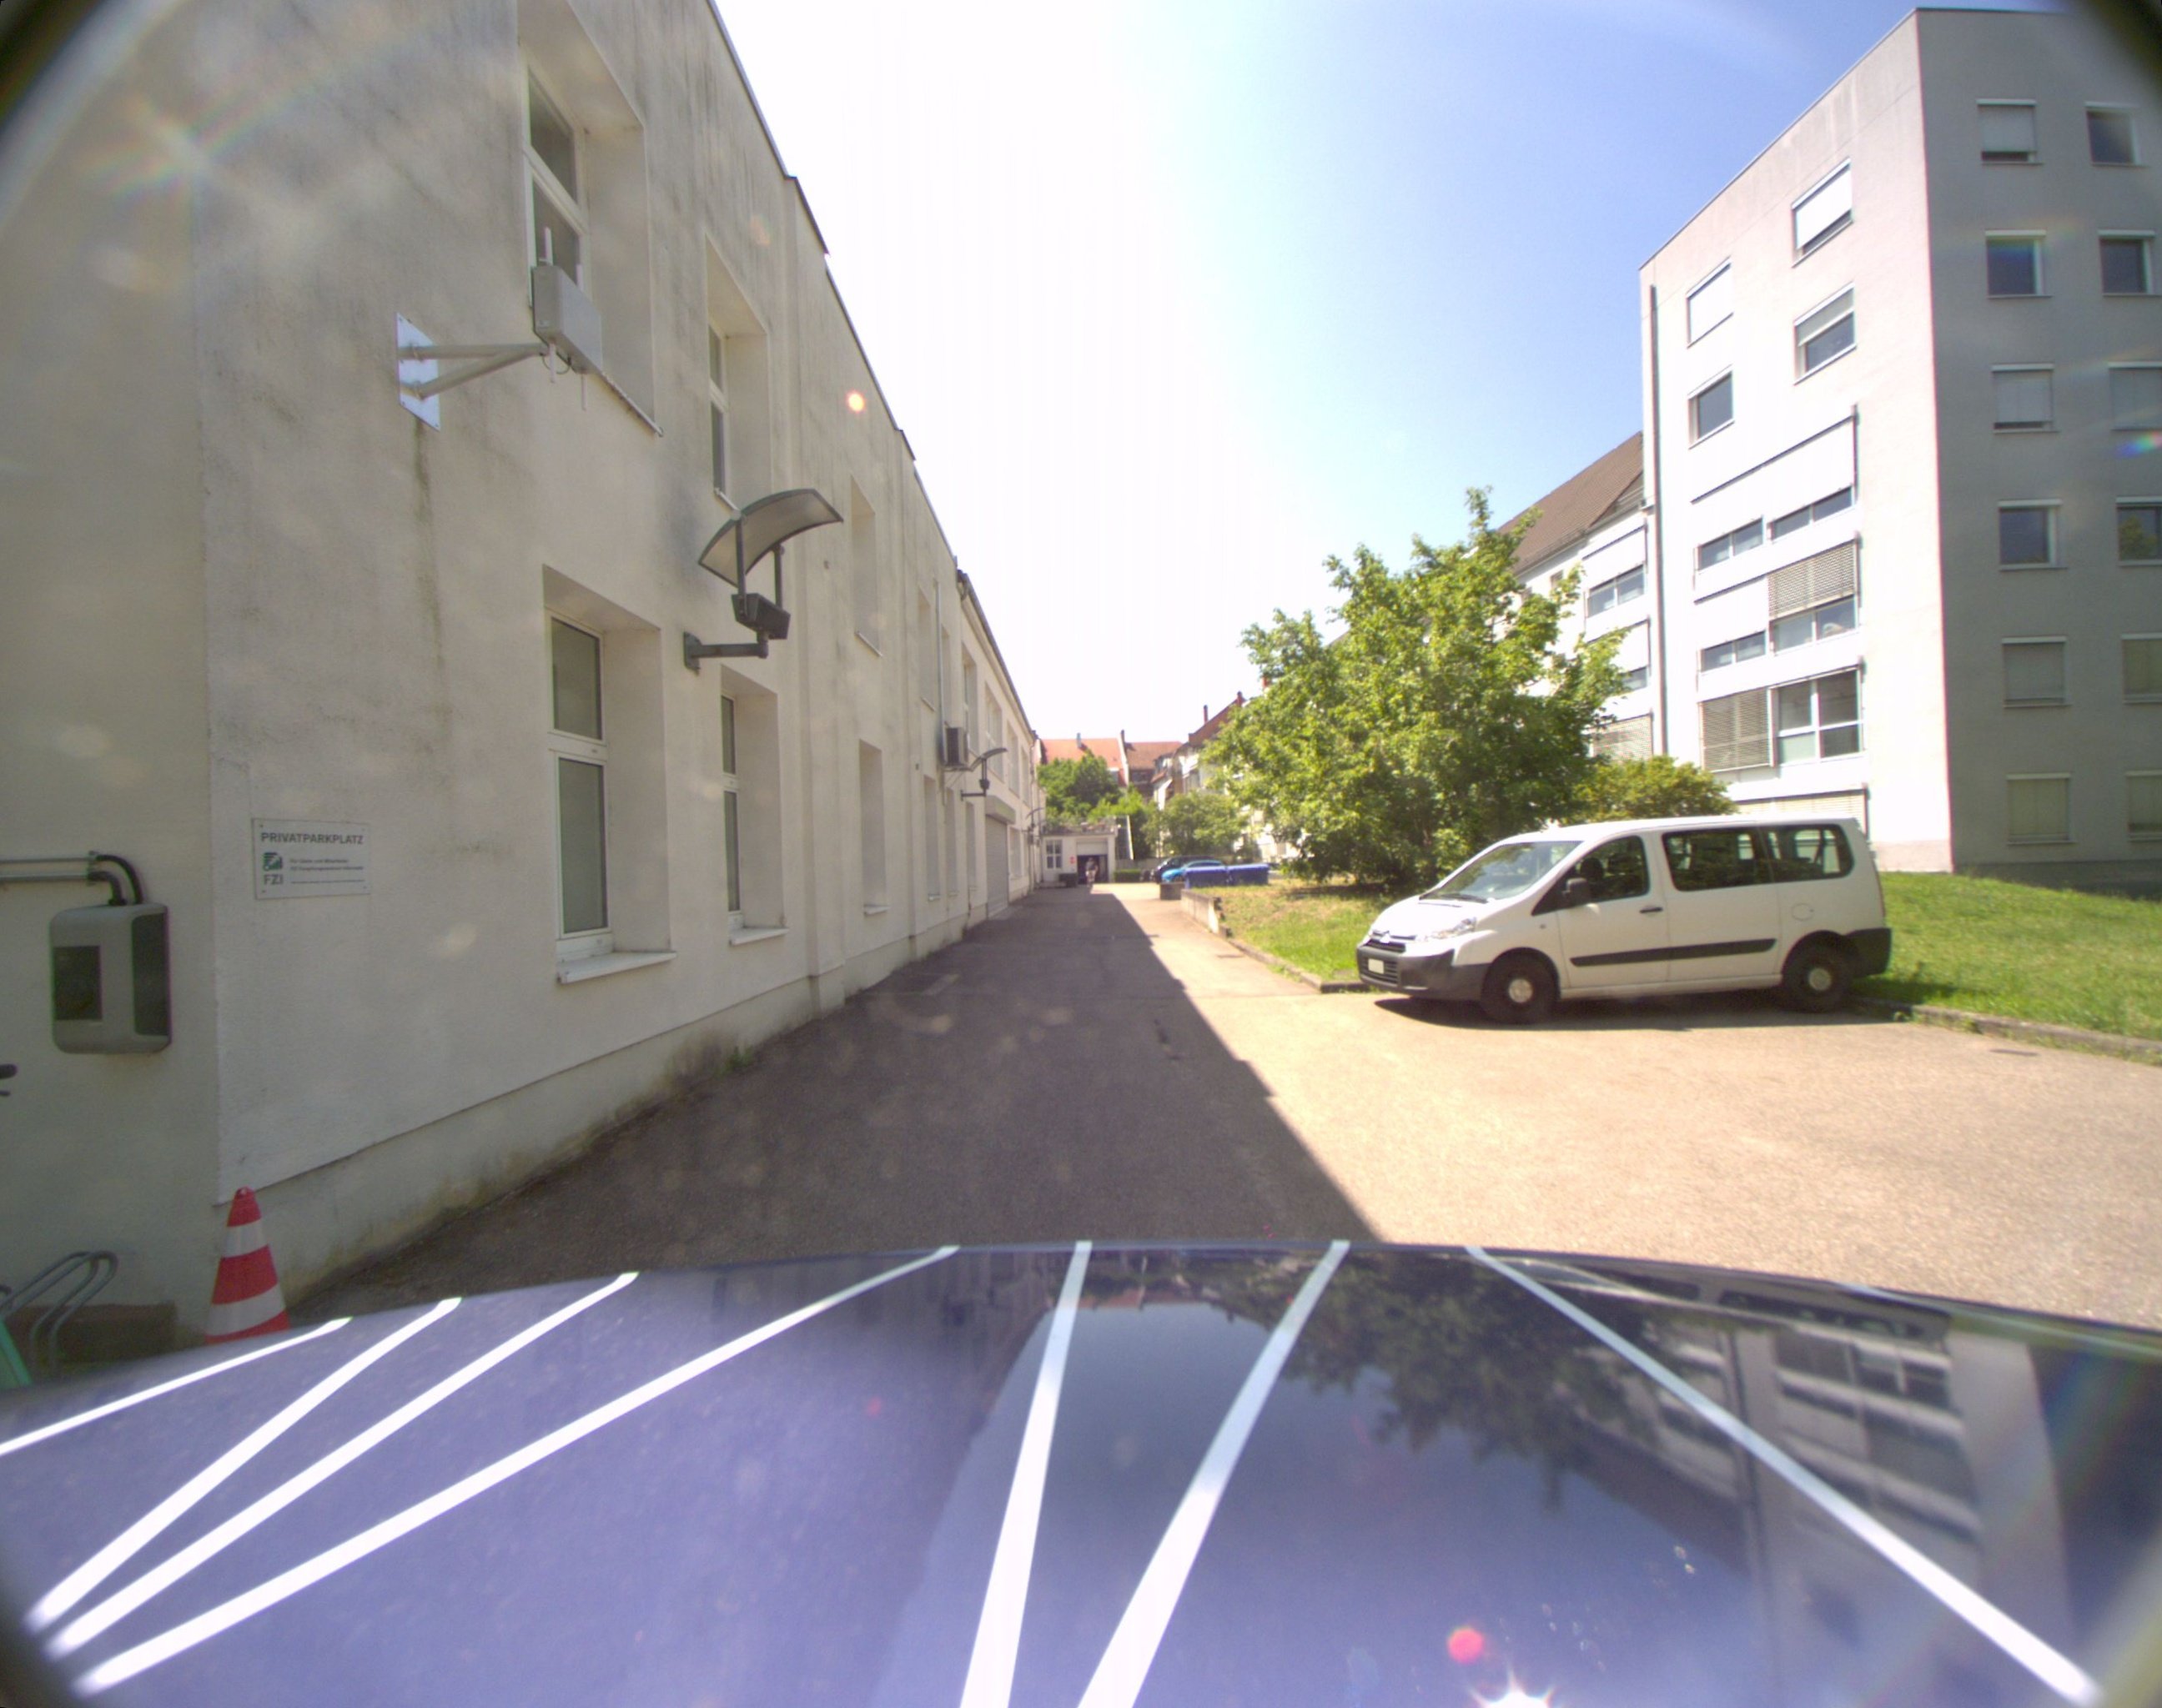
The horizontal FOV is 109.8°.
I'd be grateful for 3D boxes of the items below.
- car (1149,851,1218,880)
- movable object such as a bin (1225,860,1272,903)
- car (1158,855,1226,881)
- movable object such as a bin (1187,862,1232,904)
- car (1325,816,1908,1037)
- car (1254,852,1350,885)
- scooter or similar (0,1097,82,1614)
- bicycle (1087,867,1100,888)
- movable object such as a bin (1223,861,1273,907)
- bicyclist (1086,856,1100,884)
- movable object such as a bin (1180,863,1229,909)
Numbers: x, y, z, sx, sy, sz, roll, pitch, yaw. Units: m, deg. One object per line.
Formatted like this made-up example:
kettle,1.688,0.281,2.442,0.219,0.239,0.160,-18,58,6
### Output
car,7.149,0.799,53.393,4.449,1.821,1.999,-2,0,-3
movable object such as a bin,5.510,0.890,25.019,1.257,1.320,1.104,-2,0,0
car,7.373,0.911,50.720,4.168,1.544,1.859,-2,0,-5
movable object such as a bin,4.198,0.932,24.981,1.257,1.320,1.104,-2,0,0
car,5.311,0.663,7.982,4.802,1.900,2.000,-1,-1,-5
car,10.323,0.675,35.668,3.998,1.428,1.711,-1,0,-3
scooter or similar,-2.714,1.208,1.236,0.465,1.167,1.356,-2,0,-8
bicycle,0.707,1.319,43.465,0.645,1.167,1.904,-2,0,-1
movable object such as a bin,5.076,0.897,23.210,1.257,1.320,1.104,-2,0,0
bicyclist,0.677,0.905,43.482,0.724,1.599,0.978,-2,0,0
movable object such as a bin,3.755,0.972,23.203,1.257,1.320,1.104,-2,0,0
